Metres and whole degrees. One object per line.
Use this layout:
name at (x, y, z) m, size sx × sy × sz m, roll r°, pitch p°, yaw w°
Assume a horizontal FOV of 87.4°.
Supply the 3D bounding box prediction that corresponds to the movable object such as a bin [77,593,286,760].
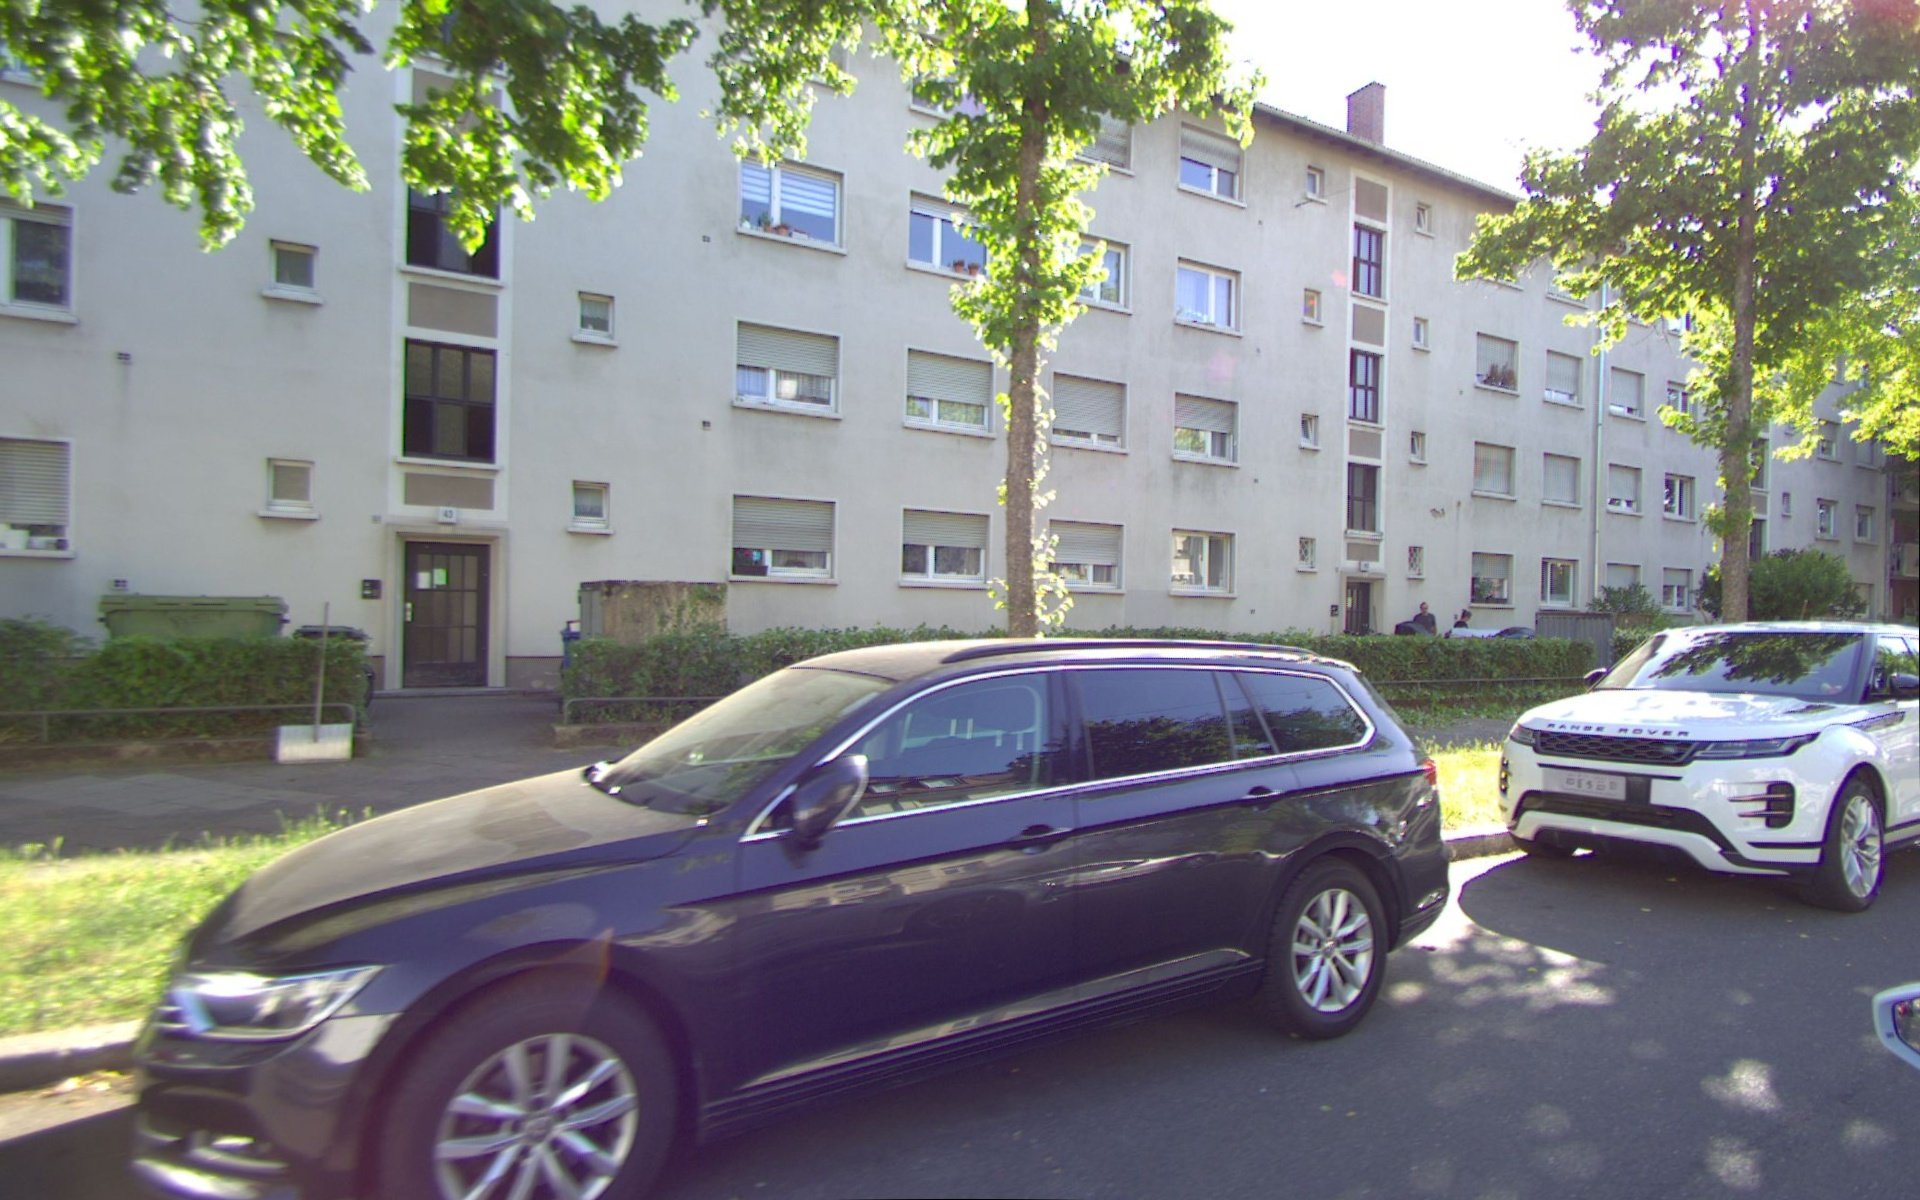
movable object such as a bin at (-6.762, 0.636, 8.828) m, size 1.365 × 1.341 × 0.924 m, roll 2°, pitch -1°, yaw -35°

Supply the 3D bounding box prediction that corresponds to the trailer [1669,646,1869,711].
trailer at (15.172, 1.420, 18.842) m, size 3.239 × 1.047 × 1.782 m, roll 1°, pitch -1°, yaw -27°

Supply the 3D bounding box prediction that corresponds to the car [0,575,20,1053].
car at (-4.589, 0.646, 1.224) m, size 4.670 × 1.544 × 2.052 m, roll 1°, pitch -1°, yaw -33°

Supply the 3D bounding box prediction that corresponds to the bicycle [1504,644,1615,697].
bicycle at (12.058, 1.393, 20.274) m, size 0.508 × 0.929 × 1.940 m, roll 1°, pitch 0°, yaw -28°

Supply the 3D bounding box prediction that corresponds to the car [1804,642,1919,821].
car at (10.118, 1.153, 9.505) m, size 4.563 × 1.496 × 1.721 m, roll 1°, pitch -4°, yaw -29°

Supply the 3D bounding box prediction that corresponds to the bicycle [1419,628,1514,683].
bicycle at (11.334, 1.242, 22.500) m, size 1.918 × 1.168 × 0.513 m, roll 2°, pitch 0°, yaw -6°

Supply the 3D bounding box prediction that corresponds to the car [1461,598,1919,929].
car at (5.554, 0.913, 6.859) m, size 4.315 × 1.639 × 1.720 m, roll 2°, pitch -4°, yaw -31°

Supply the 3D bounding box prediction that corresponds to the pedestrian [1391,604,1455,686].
pedestrian at (10.971, 1.058, 23.820) m, size 1.009 × 1.913 × 0.933 m, roll 1°, pitch -1°, yaw -16°

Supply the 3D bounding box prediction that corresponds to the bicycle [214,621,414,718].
bicycle at (-7.600, 0.790, 11.892) m, size 1.915 × 1.055 × 0.782 m, roll 2°, pitch -1°, yaw -34°

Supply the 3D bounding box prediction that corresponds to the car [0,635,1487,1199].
car at (-0.384, 0.870, 3.558) m, size 4.764 × 1.465 × 1.720 m, roll 1°, pitch -3°, yaw -30°

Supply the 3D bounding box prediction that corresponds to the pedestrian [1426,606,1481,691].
pedestrian at (11.506, 1.119, 23.437) m, size 0.861 × 1.939 × 0.783 m, roll 1°, pitch -1°, yaw -2°

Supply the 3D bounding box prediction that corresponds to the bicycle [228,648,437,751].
bicycle at (-6.988, 1.076, 11.301) m, size 1.913 × 1.055 × 0.783 m, roll 2°, pitch -1°, yaw -30°

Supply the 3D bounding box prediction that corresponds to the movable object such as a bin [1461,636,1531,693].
movable object such as a bin at (10.261, 1.223, 19.251) m, size 0.833 × 1.047 × 0.879 m, roll 1°, pitch -1°, yaw -27°

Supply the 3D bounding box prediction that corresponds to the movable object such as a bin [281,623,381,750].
movable object such as a bin at (-5.916, 0.778, 9.439) m, size 0.747 × 1.106 × 0.924 m, roll 1°, pitch -1°, yaw -34°
